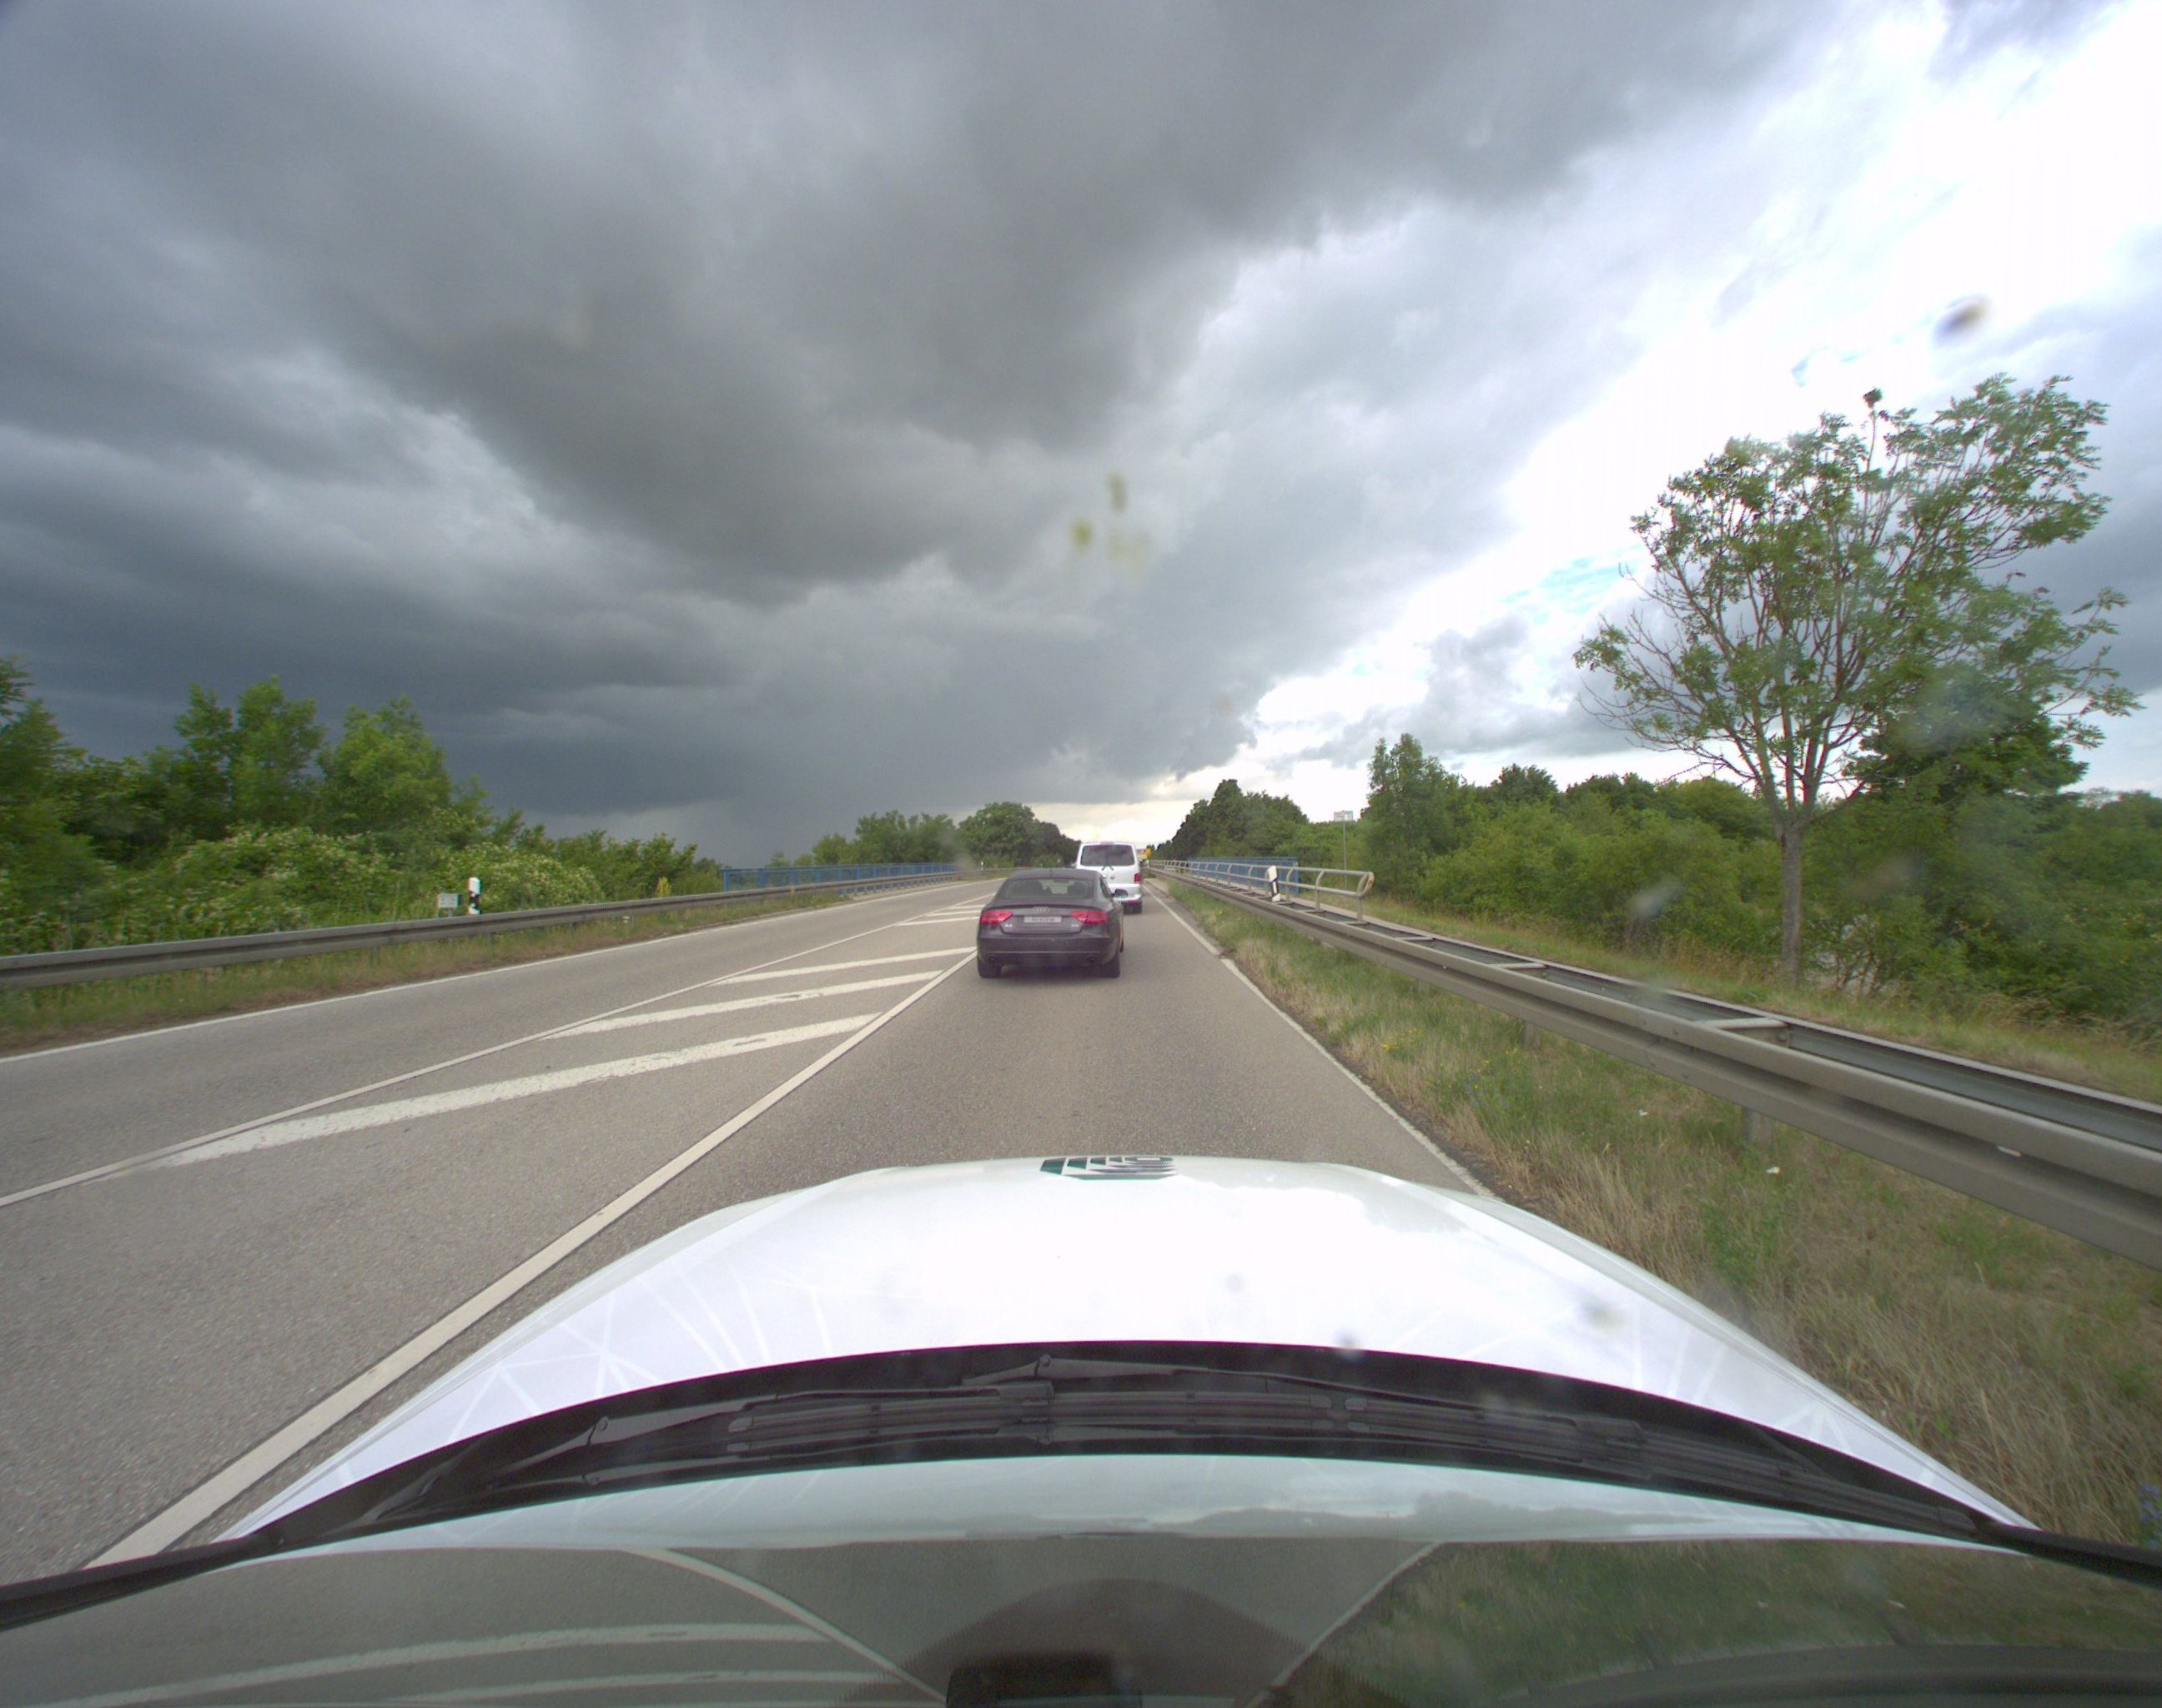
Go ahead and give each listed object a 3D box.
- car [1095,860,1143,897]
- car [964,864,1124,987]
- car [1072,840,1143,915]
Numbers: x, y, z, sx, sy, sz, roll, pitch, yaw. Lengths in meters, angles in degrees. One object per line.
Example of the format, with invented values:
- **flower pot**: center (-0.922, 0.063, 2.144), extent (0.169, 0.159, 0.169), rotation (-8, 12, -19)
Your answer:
- **car**: center (1.591, 0.966, 33.587), extent (1.814, 1.381, 4.075), rotation (-1, -1, 3)
- **car**: center (-0.328, 0.862, 11.564), extent (1.814, 1.381, 4.075), rotation (-1, -1, 3)
- **car**: center (0.765, 0.633, 23.310), extent (1.821, 1.935, 4.002), rotation (-1, -1, 2)
